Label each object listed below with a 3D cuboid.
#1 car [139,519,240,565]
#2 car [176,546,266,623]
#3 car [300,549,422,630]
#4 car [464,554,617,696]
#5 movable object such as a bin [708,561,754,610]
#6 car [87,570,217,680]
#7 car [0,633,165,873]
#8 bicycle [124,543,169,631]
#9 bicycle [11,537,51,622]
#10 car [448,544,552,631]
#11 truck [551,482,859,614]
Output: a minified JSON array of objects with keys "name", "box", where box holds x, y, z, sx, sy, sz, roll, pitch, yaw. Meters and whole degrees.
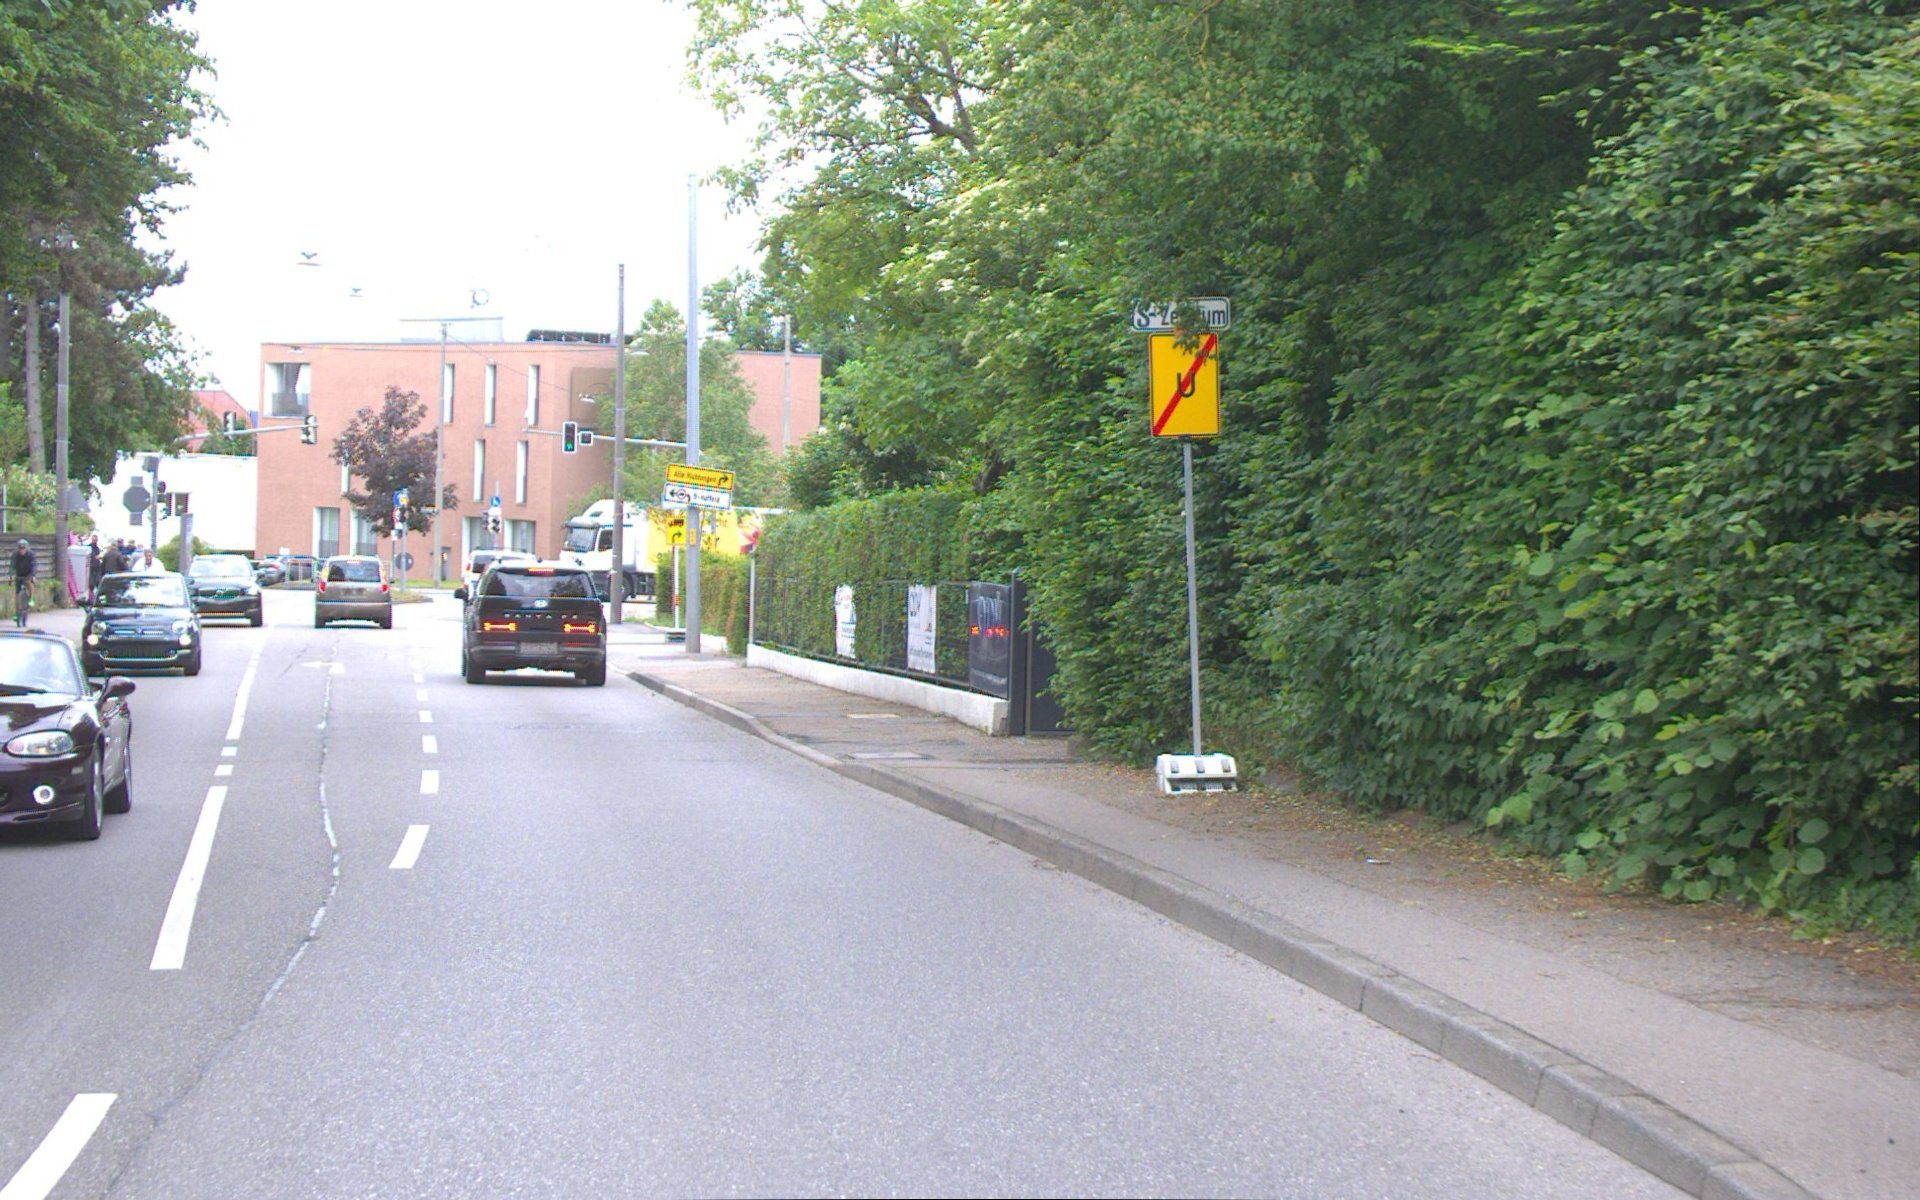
[{"name":"car","box":[-34.943,-2.630,155.897,3.988,2.006,2.000,0,2,-37]},{"name":"car","box":[-16.809,-0.370,78.114,1.831,1.625,4.284,-1,2,-14]},{"name":"car","box":[-13.413,-0.258,77.158,1.893,1.700,4.000,1,1,2]},{"name":"car","box":[-5.901,0.321,48.064,1.993,1.875,4.001,1,0,-8]},{"name":"movable object such as a bin","box":[-5.197,-0.333,77.987,0.682,1.070,0.714,3,0,44]},{"name":"car","box":[-11.722,0.330,49.738,1.719,1.466,3.532,-1,1,-15]},{"name":"car","box":[-5.759,0.845,20.215,1.691,1.173,3.788,-1,1,-7]},{"name":"bicycle","box":[-16.376,-0.279,69.269,0.758,1.738,1.872,0,1,-10]},{"name":"bicycle","box":[-18.675,-0.422,69.105,0.561,1.670,1.981,2,1,-10]},{"name":"car","box":[-12.274,-0.364,91.973,1.962,2.006,4.428,4,2,1]},{"name":"truck","box":[-9.488,-1.898,129.384,11.759,4.718,3.135,0,2,-39]}]
